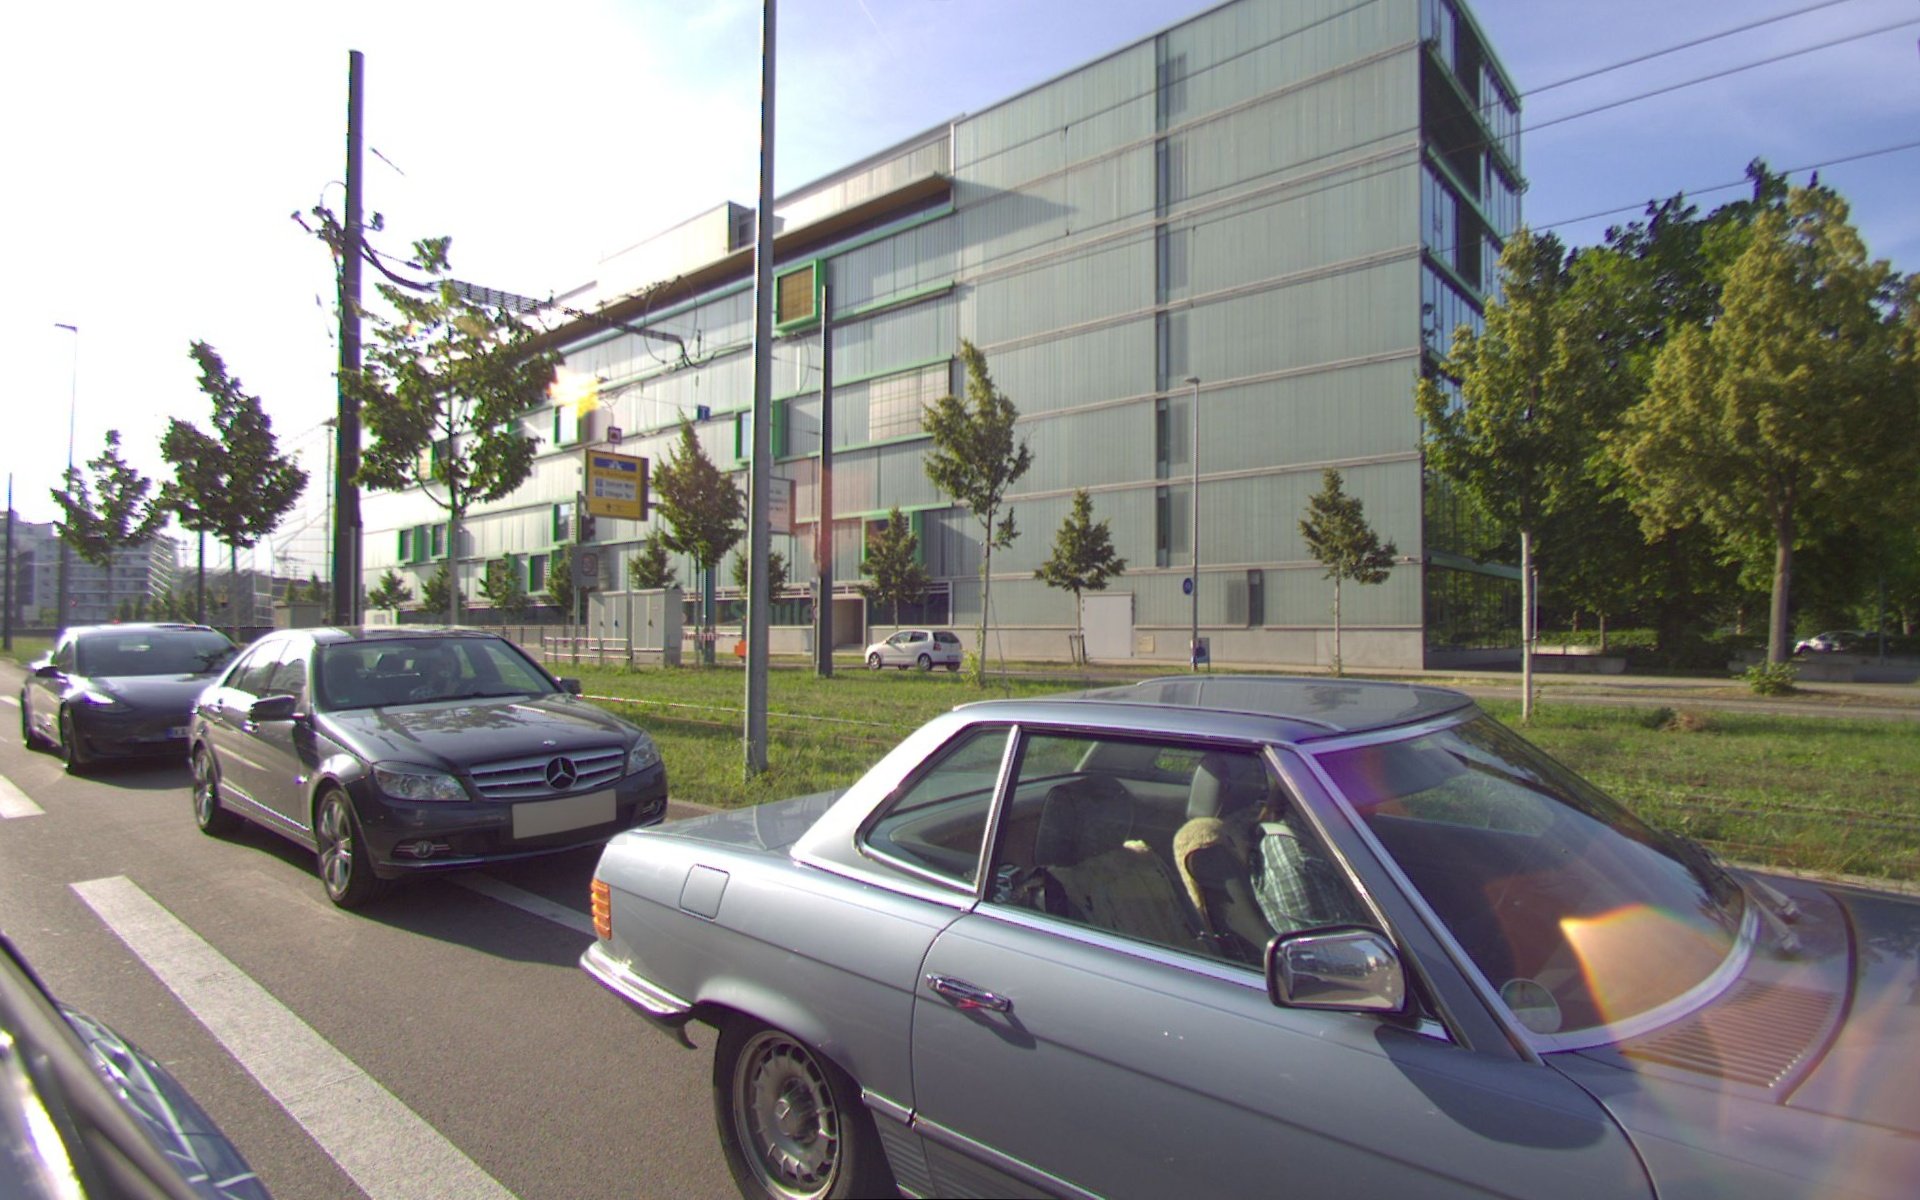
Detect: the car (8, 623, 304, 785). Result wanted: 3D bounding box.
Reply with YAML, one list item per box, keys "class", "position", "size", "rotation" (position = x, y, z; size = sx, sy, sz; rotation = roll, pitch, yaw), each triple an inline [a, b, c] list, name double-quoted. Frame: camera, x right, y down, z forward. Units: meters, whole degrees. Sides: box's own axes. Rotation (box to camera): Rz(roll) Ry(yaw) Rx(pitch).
- class: "car"
  position: [-8.988, 1.003, 11.177]
  size: [4.333, 1.396, 1.870]
  rotation: [-2, -1, 42]

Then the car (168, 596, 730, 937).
- class: "car"
  position: [-3.541, 0.791, 6.582]
  size: [4.351, 1.490, 1.768]
  rotation: [-2, -1, 41]

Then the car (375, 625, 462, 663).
- class: "car"
  position: [-25.653, 2.052, 47.881]
  size: [4.992, 1.697, 1.973]
  rotation: [-2, -3, 41]

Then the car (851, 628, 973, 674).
- class: "car"
  position: [-1.765, 1.800, 36.166]
  size: [4.219, 1.539, 1.858]
  rotation: [-2, -3, 39]

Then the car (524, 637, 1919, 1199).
- class: "car"
  position: [0.985, 0.784, 2.146]
  size: [4.397, 1.340, 1.746]
  rotation: [-2, -1, 40]
